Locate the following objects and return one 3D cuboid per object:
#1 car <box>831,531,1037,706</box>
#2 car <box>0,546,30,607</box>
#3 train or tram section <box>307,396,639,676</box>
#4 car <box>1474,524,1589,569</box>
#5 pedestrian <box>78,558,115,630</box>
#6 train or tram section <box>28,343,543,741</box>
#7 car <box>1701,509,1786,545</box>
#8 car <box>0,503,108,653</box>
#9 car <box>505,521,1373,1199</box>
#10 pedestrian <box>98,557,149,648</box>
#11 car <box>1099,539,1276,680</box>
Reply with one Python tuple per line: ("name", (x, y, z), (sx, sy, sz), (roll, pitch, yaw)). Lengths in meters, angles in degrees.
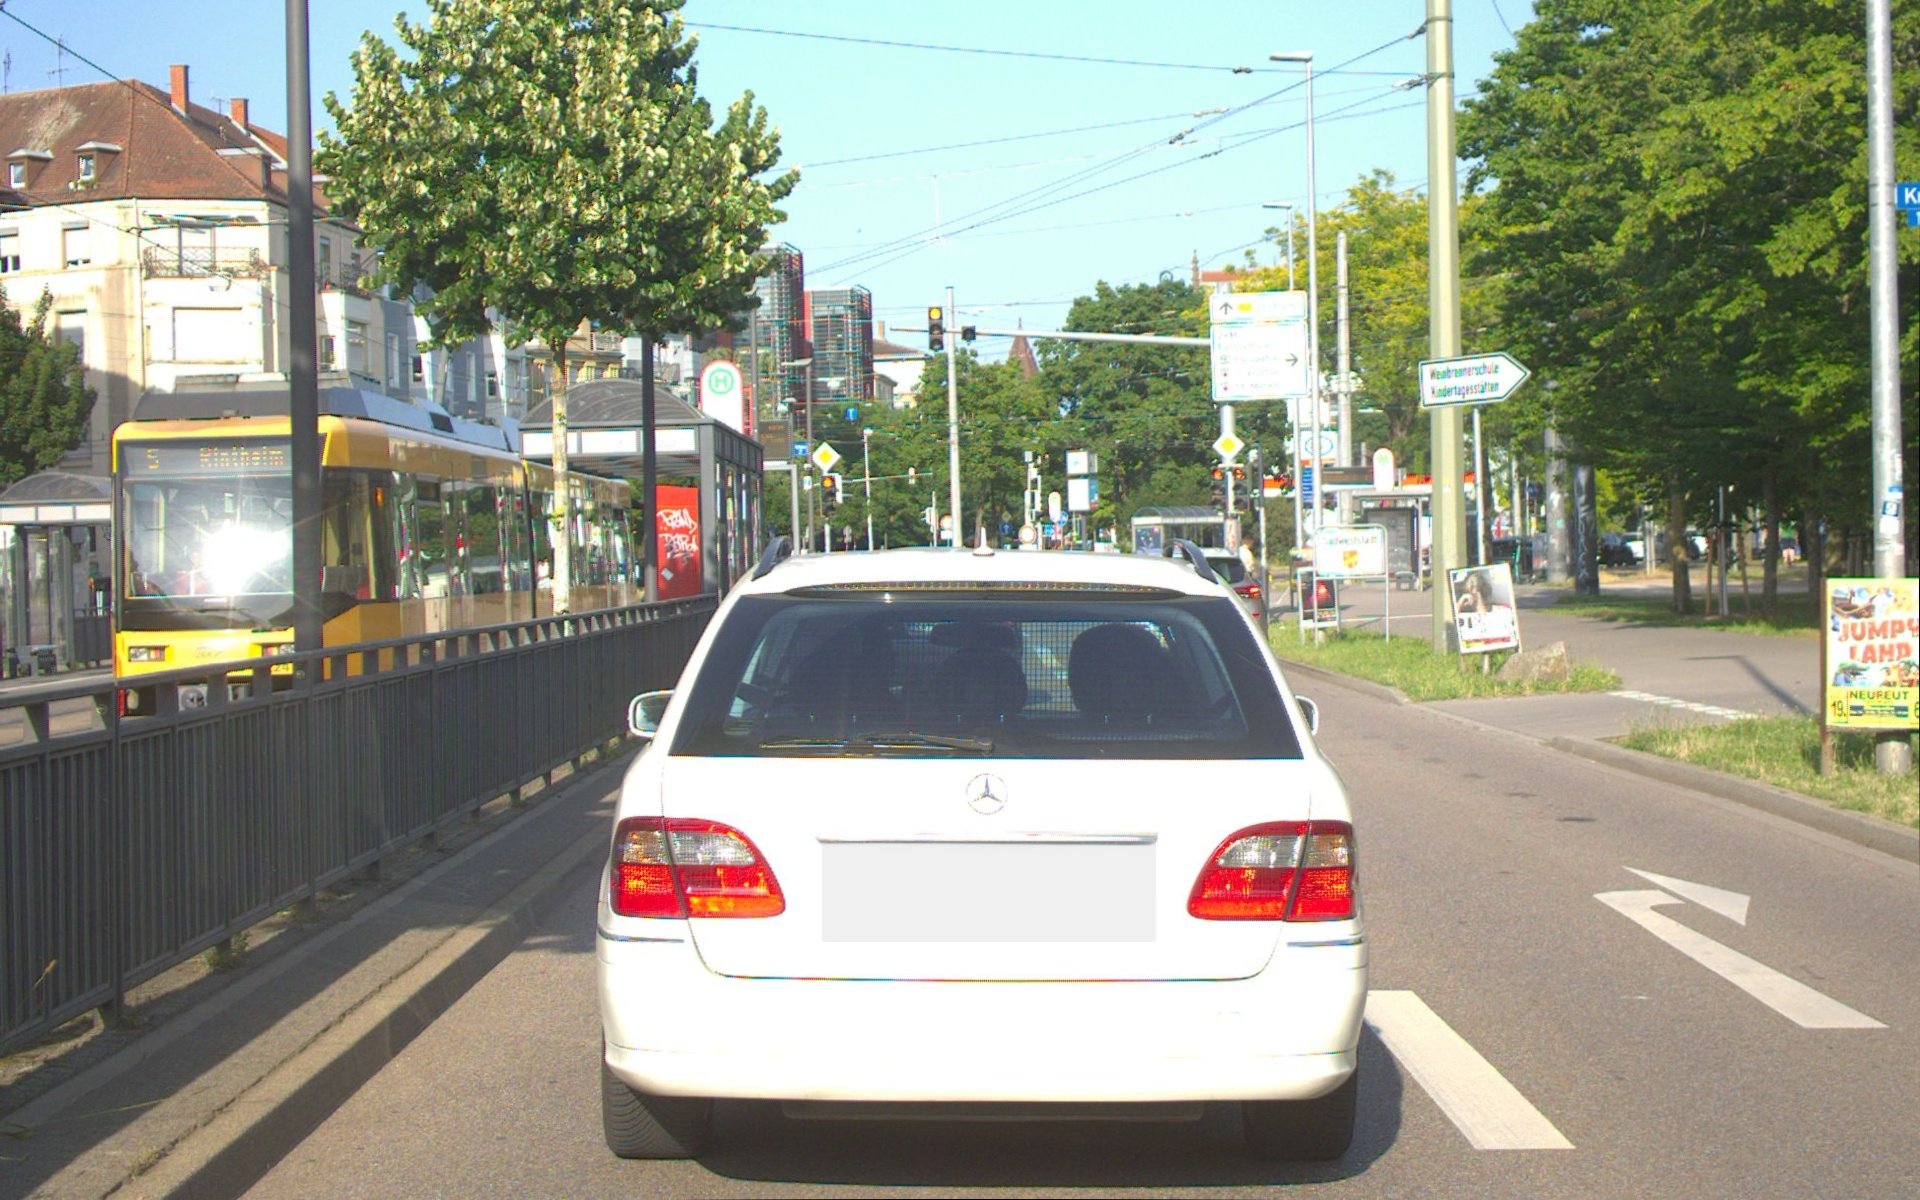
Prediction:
("car", (-0.215, 0.145, 35.575), (1.787, 1.684, 4.000), (-1, 1, 4))
("car", (-27.082, -0.600, 91.210), (2.206, 1.622, 4.711), (0, 1, 23))
("train or tram section", (-6.715, -0.941, 49.681), (2.849, 3.467, 13.200), (-1, 1, 0))
("car", (22.455, -2.102, 135.086), (3.992, 1.645, 1.997), (-1, 1, 26))
("pedestrian", (-21.159, -0.144, 84.254), (0.665, 1.747, 0.746), (-1, 1, 4))
("train or tram section", (-6.691, -0.663, 36.635), (2.849, 3.467, 13.200), (0, 1, 0))
("car", (38.316, -3.565, 168.064), (3.989, 1.645, 1.999), (-1, 1, 15))
("car", (-18.613, -0.458, 66.225), (2.596, 2.726, 7.469), (-1, 1, -1))
("car", (-0.006, 0.588, 9.105), (1.758, 1.498, 4.000), (-1, 2, 1))
("pedestrian", (-16.196, 0.041, 66.574), (0.886, 1.747, 0.746), (-1, 1, -10))
("car", (2.793, 0.081, 41.998), (2.033, 1.600, 4.000), (-1, 1, 4))
